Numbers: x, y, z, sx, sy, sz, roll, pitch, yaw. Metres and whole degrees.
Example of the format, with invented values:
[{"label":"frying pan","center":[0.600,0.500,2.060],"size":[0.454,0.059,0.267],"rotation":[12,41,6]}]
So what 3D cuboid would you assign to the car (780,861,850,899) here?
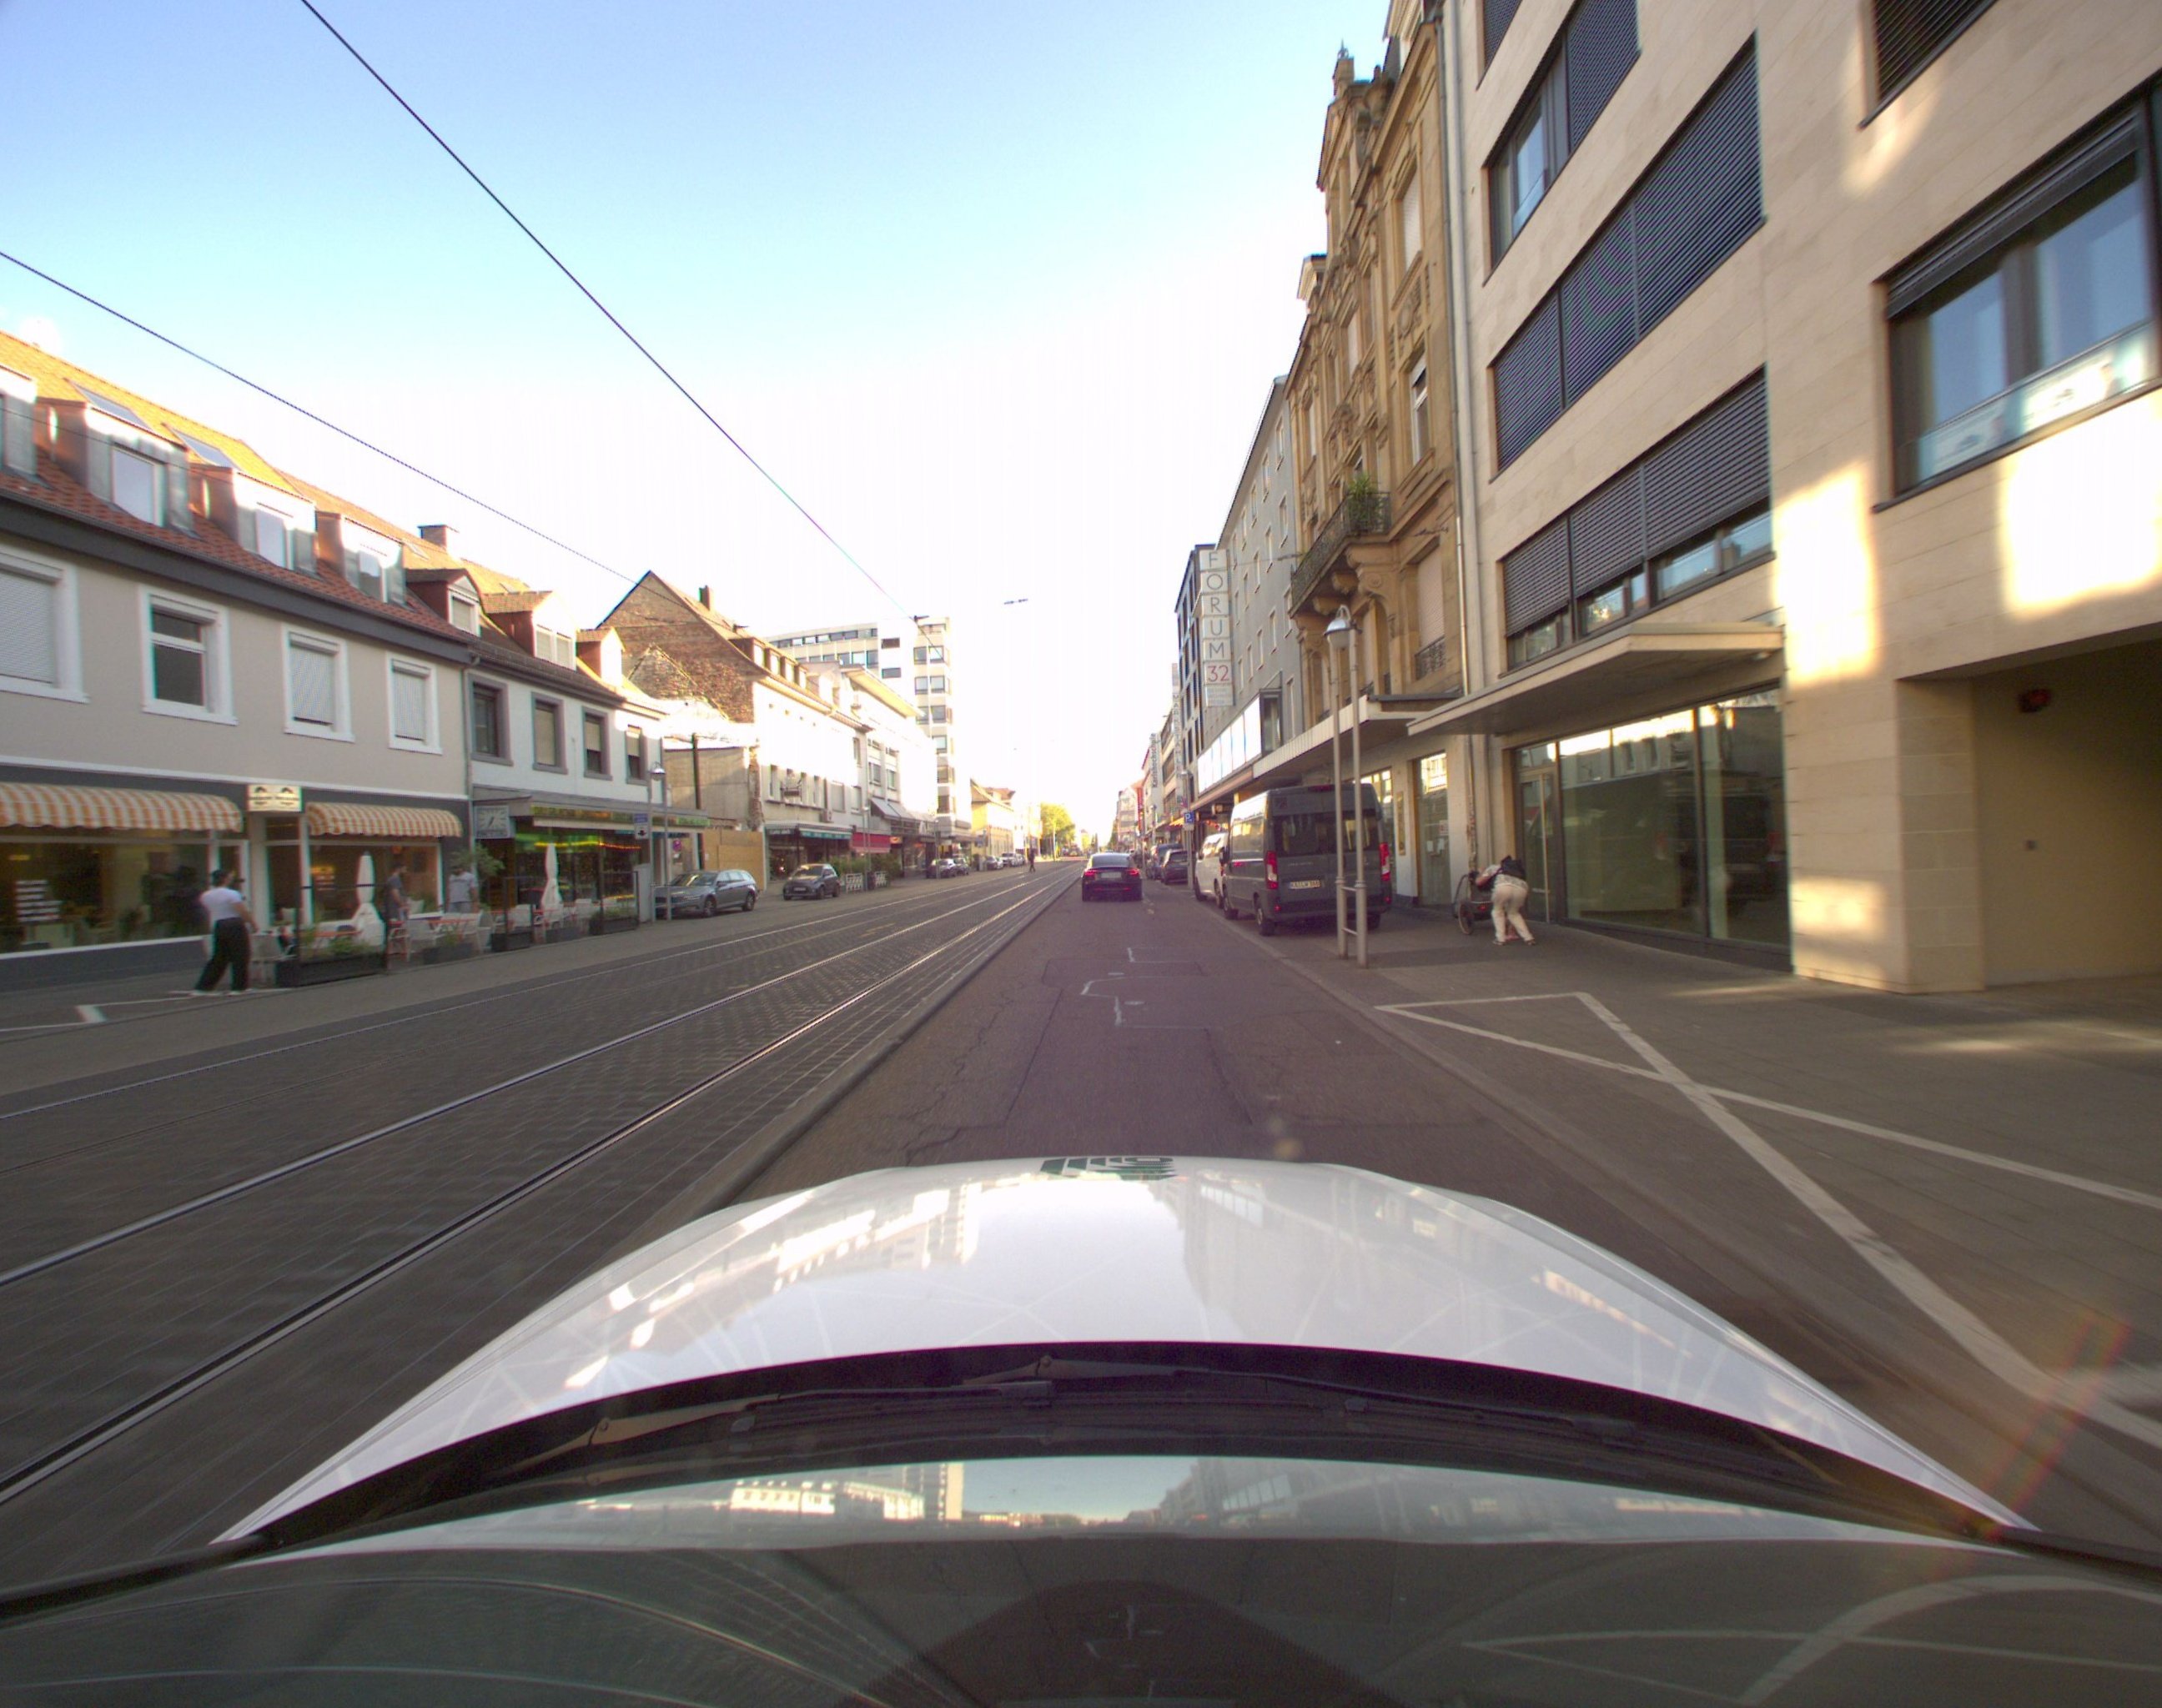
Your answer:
[{"label":"car","center":[-11.763,1.122,36.297],"size":[1.668,1.546,3.747],"rotation":[-1,0,4]}]

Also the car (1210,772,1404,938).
[{"label":"car","center":[3.997,-0.010,15.535],"size":[2.163,2.461,5.363],"rotation":[-4,0,1]}]

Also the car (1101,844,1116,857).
[{"label":"car","center":[4.030,-0.517,120.362],"size":[2.077,1.870,3.756],"rotation":[-2,1,2]}]

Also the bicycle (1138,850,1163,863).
[{"label":"bicycle","center":[6.217,0.243,73.261],"size":[2.153,1.097,0.686],"rotation":[-3,0,-1]}]

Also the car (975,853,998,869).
[{"label":"car","center":[-10.169,0.689,87.762],"size":[1.710,1.571,3.853],"rotation":[-3,0,4]}]

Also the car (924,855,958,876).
[{"label":"car","center":[-11.026,0.864,64.392],"size":[1.762,1.508,3.867],"rotation":[-3,0,3]}]

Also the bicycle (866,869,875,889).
[{"label":"bicycle","center":[-11.142,1.300,43.156],"size":[0.369,1.002,1.596],"rotation":[-3,0,-16]}]

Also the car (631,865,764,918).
[{"label":"car","center":[-12.278,1.140,26.482],"size":[1.986,1.532,4.758],"rotation":[-1,-1,1]}]

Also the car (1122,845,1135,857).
[{"label":"car","center":[7.682,-0.503,131.472],"size":[1.986,1.753,4.002],"rotation":[-2,0,2]}]

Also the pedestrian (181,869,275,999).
[{"label":"pedestrian","center":[-12.334,1.127,11.799],"size":[0.720,1.775,0.610],"rotation":[-2,0,-26]}]

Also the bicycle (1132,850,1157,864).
[{"label":"bicycle","center":[5.795,0.273,74.157],"size":[2.153,1.097,0.686],"rotation":[-3,0,-1]}]

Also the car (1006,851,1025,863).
[{"label":"car","center":[-9.163,0.381,114.032],"size":[1.980,1.613,4.276],"rotation":[-3,0,2]}]

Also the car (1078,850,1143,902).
[{"label":"car","center":[0.948,0.627,25.971],"size":[1.862,1.427,4.367],"rotation":[-2,1,2]}]

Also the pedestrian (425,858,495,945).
[{"label":"pedestrian","center":[-13.204,1.000,17.334],"size":[0.883,1.775,0.688],"rotation":[-2,0,0]}]

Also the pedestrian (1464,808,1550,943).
[{"label":"pedestrian","center":[5.727,0.275,11.006],"size":[0.554,1.714,0.955],"rotation":[-4,0,1]}]

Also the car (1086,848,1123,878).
[{"label":"car","center":[1.215,0.470,42.399],"size":[1.755,1.418,4.355],"rotation":[-2,0,1]}]

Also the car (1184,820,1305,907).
[{"label":"car","center":[4.270,0.215,22.114],"size":[2.152,1.926,4.615],"rotation":[-6,1,-1]}]

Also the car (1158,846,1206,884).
[{"label":"car","center":[4.392,0.446,35.951],"size":[1.744,1.499,3.756],"rotation":[-3,1,2]}]

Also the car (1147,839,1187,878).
[{"label":"car","center":[4.398,0.215,42.093],"size":[1.814,1.870,3.756],"rotation":[-2,1,2]}]

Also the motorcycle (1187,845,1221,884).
[{"label":"motorcycle","center":[4.582,0.381,30.499],"size":[0.810,1.315,2.634],"rotation":[-6,-1,2]}]

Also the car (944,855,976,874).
[{"label":"car","center":[-10.417,0.902,70.517],"size":[1.761,1.508,3.866],"rotation":[-3,0,5]}]

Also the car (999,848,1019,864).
[{"label":"car","center":[-9.454,0.230,107.081],"size":[2.001,1.961,4.726],"rotation":[-3,0,2]}]

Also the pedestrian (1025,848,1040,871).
[{"label":"pedestrian","center":[-3.922,0.446,66.060],"size":[0.764,1.848,0.833],"rotation":[-3,0,32]}]

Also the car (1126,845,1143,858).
[{"label":"car","center":[6.736,-0.258,102.976],"size":[1.986,1.543,4.002],"rotation":[-2,0,2]}]

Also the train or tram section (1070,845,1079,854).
[{"label":"train or tram section","center":[-1.895,-1.437,248.294],"size":[1.984,2.634,6.811],"rotation":[-2,1,5]}]

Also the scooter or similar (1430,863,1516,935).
[{"label":"scooter or similar","center":[5.777,0.640,12.077],"size":[0.591,0.936,1.298],"rotation":[-4,0,0]}]

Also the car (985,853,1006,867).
[{"label":"car","center":[-9.815,0.687,93.701],"size":[1.762,1.508,3.976],"rotation":[-3,0,4]}]

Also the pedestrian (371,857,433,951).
[{"label":"pedestrian","center":[-13.718,0.993,16.470],"size":[0.655,1.823,0.642],"rotation":[-2,0,-4]}]
